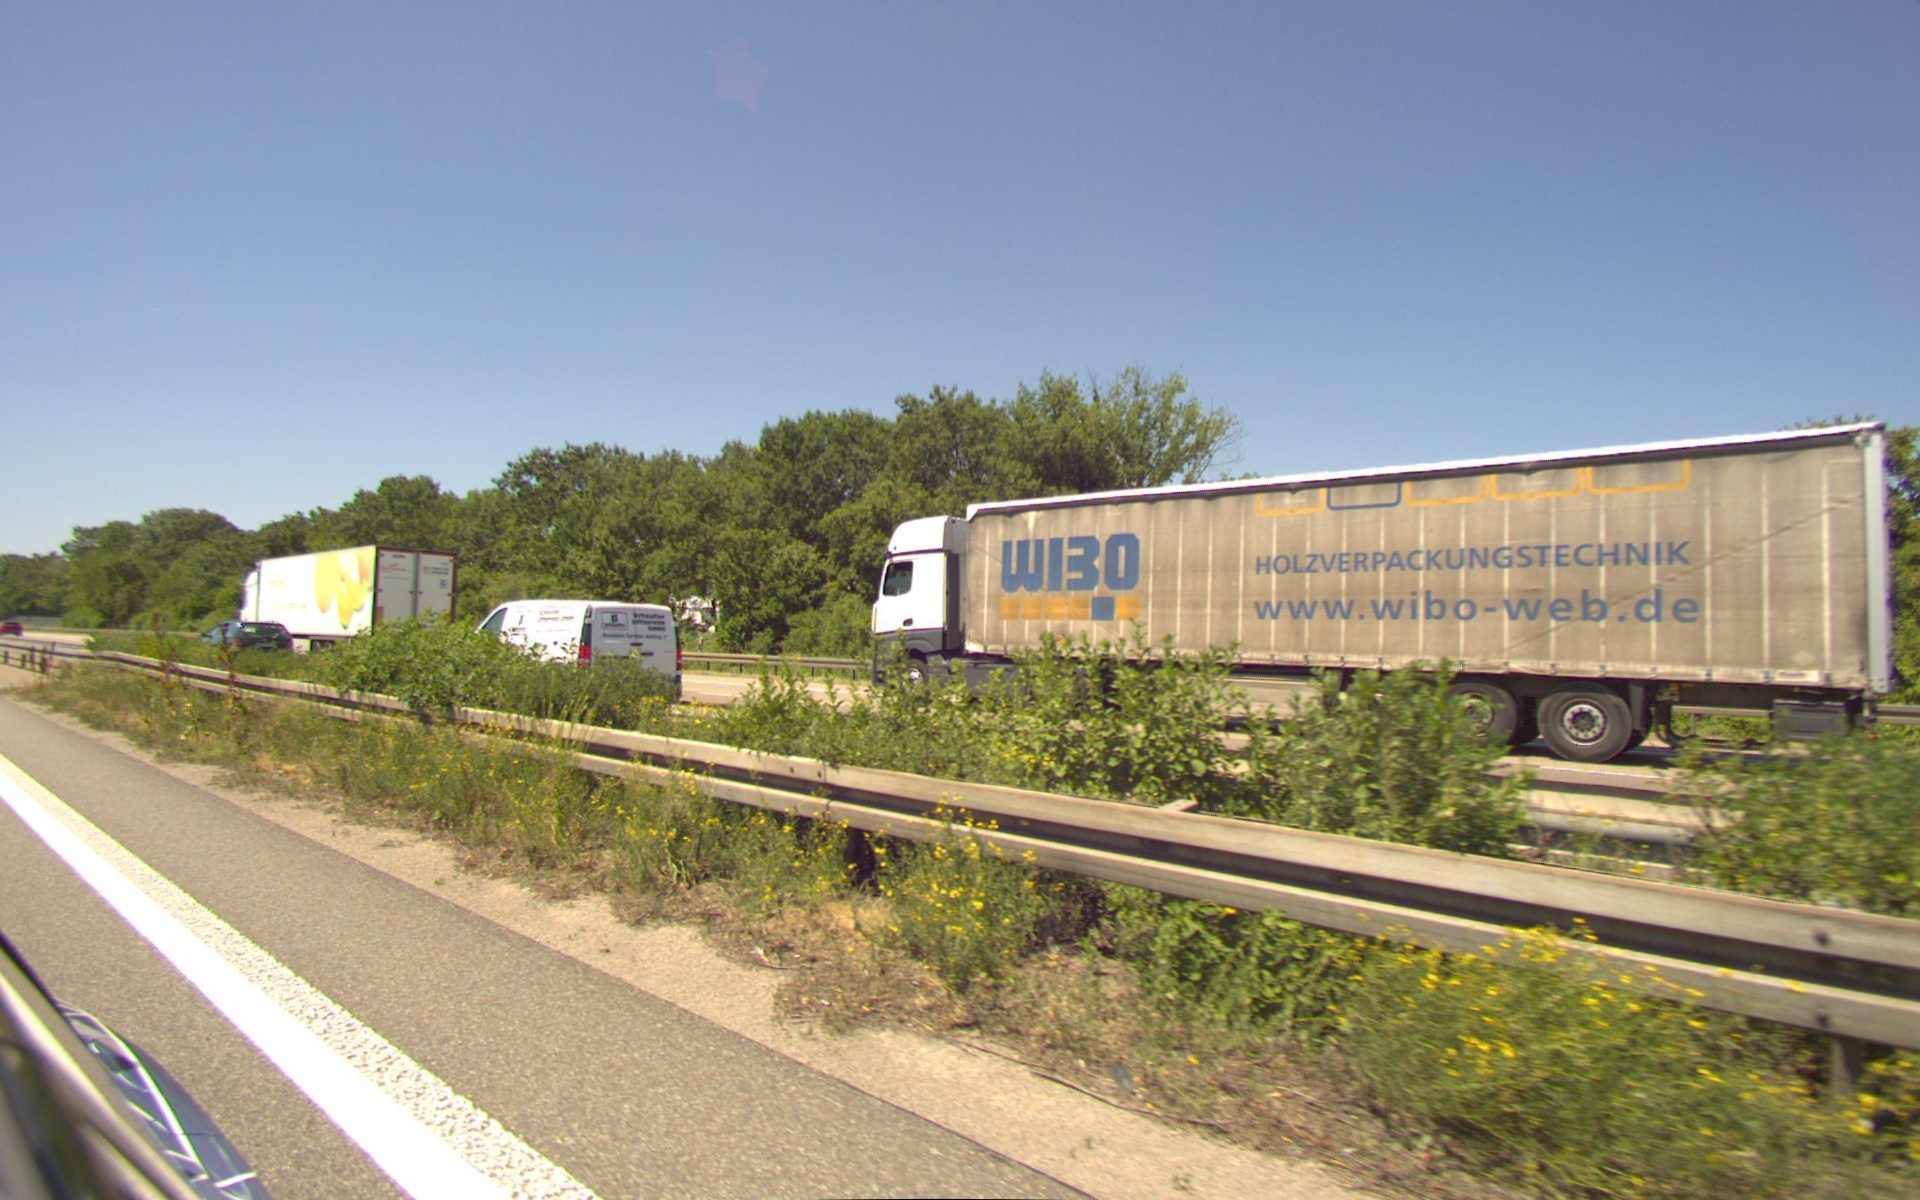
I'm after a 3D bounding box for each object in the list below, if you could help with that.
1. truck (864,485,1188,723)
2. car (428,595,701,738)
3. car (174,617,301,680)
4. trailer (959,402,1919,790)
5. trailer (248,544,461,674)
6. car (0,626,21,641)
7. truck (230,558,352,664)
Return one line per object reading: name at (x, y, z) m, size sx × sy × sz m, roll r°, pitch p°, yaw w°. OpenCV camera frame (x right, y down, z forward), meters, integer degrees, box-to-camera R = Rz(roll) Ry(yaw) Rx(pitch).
truck at (1.202, 0.180, 20.621) m, size 6.150 × 4.134 × 2.728 m, roll -1°, pitch -4°, yaw 42°
car at (-6.814, 0.977, 17.079) m, size 5.487 × 2.046 × 1.973 m, roll -1°, pitch 0°, yaw 41°
car at (-21.664, 1.382, 30.276) m, size 4.798 × 1.706 × 1.939 m, roll -1°, pitch 0°, yaw 40°
trailer at (6.167, 0.099, 16.207) m, size 14.048 × 4.134 × 2.728 m, roll -1°, pitch -4°, yaw 42°
trailer at (-23.096, 0.433, 37.938) m, size 14.345 × 4.116 × 2.710 m, roll -1°, pitch -3°, yaw 43°
car at (-92.456, 3.267, 98.102) m, size 4.110 × 1.428 × 1.753 m, roll -2°, pitch -4°, yaw 43°
truck at (-28.295, 0.530, 42.729) m, size 6.216 × 4.116 × 2.710 m, roll -1°, pitch -3°, yaw 42°
